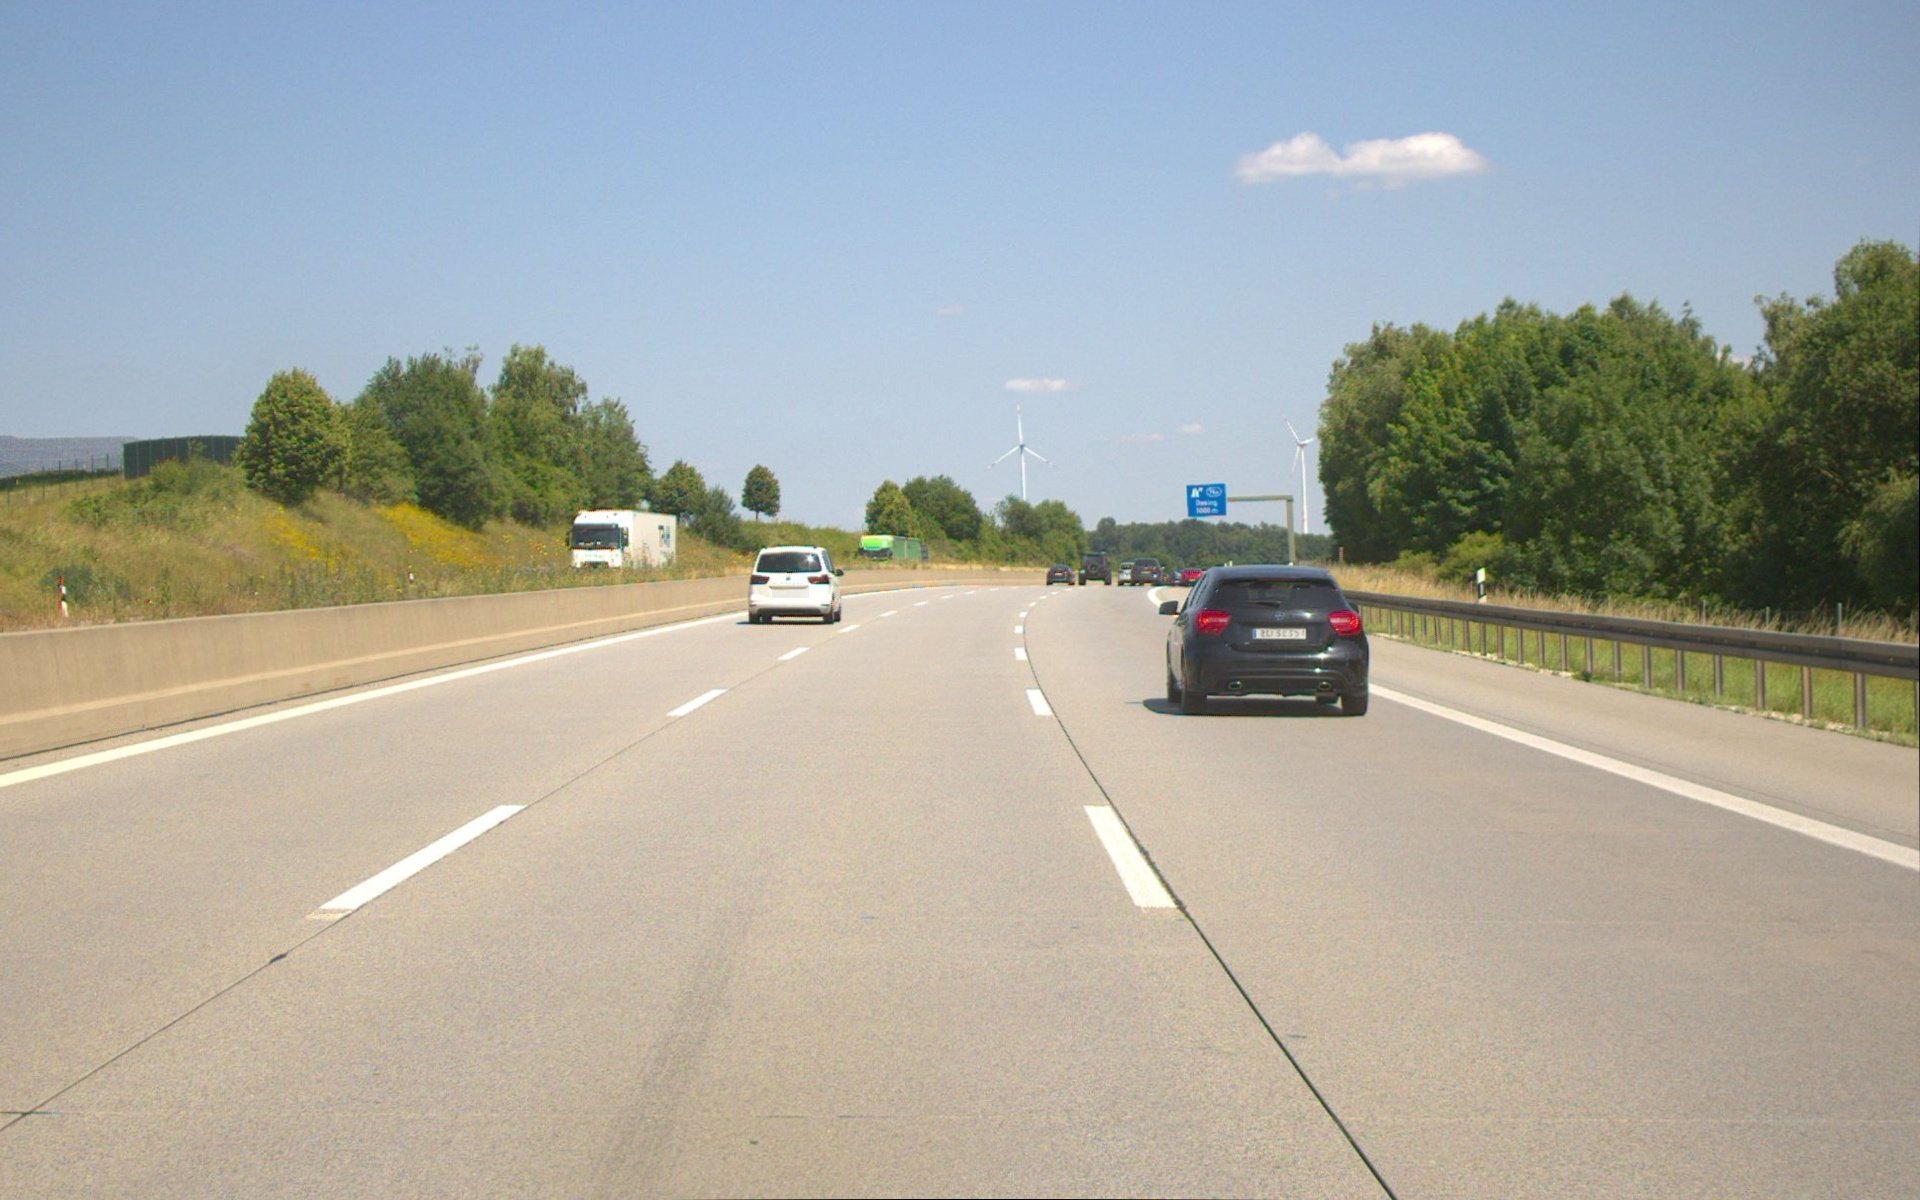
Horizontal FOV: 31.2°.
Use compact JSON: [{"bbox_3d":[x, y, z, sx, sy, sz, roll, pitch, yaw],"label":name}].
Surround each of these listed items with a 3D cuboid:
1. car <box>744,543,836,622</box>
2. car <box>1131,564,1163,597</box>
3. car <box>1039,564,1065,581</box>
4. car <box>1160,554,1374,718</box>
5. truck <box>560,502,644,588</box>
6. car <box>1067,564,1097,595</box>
[{"bbox_3d":[-3.750,-0.392,76.831,1.845,1.702,6.036,0,0,-1],"label":"car"},{"bbox_3d":[11.015,-1.180,202.278,1.827,1.900,4.000,0,1,3],"label":"car"},{"bbox_3d":[6.606,-1.973,246.658,1.655,1.192,3.960,2,1,-1],"label":"car"},{"bbox_3d":[2.977,0.308,34.062,1.910,1.487,4.191,1,1,3],"label":"car"},{"bbox_3d":[-17.144,-2.627,165.048,2.991,4.046,6.869,0,1,2],"label":"truck"},{"bbox_3d":[7.746,-1.336,218.265,1.827,1.931,3.809,-1,1,1],"label":"car"}]
